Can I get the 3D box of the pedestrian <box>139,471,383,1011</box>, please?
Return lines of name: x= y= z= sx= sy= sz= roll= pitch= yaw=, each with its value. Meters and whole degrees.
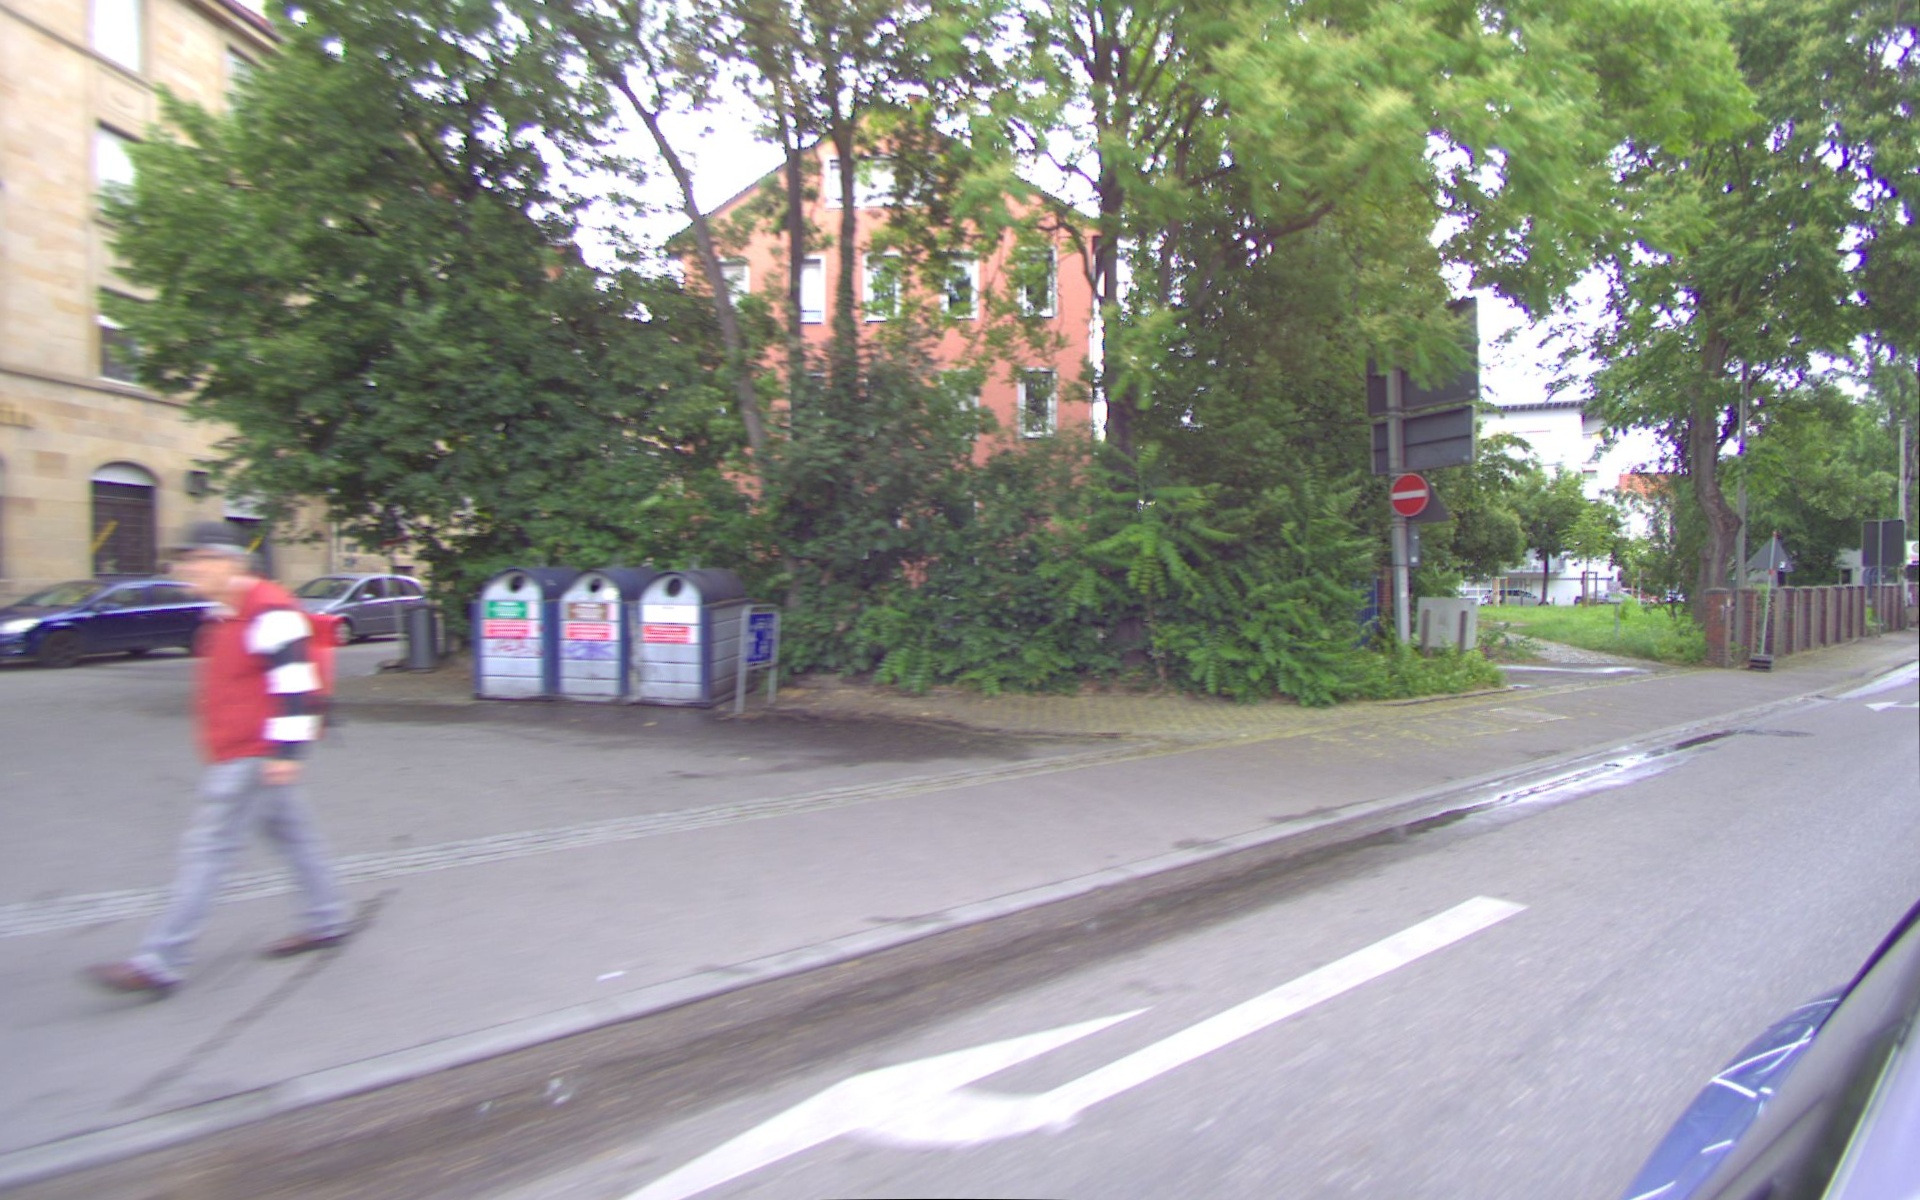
pedestrian: x=-2.765 y=0.468 z=3.987 sx=0.714 sy=1.853 sz=0.781 roll=0 pitch=2 yaw=-39

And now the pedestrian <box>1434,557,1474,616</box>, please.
pedestrian: x=17.508 y=-0.490 z=35.872 sx=1.127 sy=2.038 sz=1.237 roll=1 pitch=2 yaw=33

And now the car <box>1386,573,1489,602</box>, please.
car: x=28.583 y=-0.768 z=60.685 sx=5.505 sy=1.608 sz=1.983 roll=0 pitch=3 yaw=27

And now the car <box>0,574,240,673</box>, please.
car: x=-15.136 y=0.326 z=17.691 sx=1.704 sy=1.482 sz=4.076 roll=2 pitch=1 yaw=11

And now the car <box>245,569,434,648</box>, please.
car: x=-14.170 y=0.121 z=23.395 sx=1.593 sy=1.609 sz=3.994 roll=0 pitch=2 yaw=7
